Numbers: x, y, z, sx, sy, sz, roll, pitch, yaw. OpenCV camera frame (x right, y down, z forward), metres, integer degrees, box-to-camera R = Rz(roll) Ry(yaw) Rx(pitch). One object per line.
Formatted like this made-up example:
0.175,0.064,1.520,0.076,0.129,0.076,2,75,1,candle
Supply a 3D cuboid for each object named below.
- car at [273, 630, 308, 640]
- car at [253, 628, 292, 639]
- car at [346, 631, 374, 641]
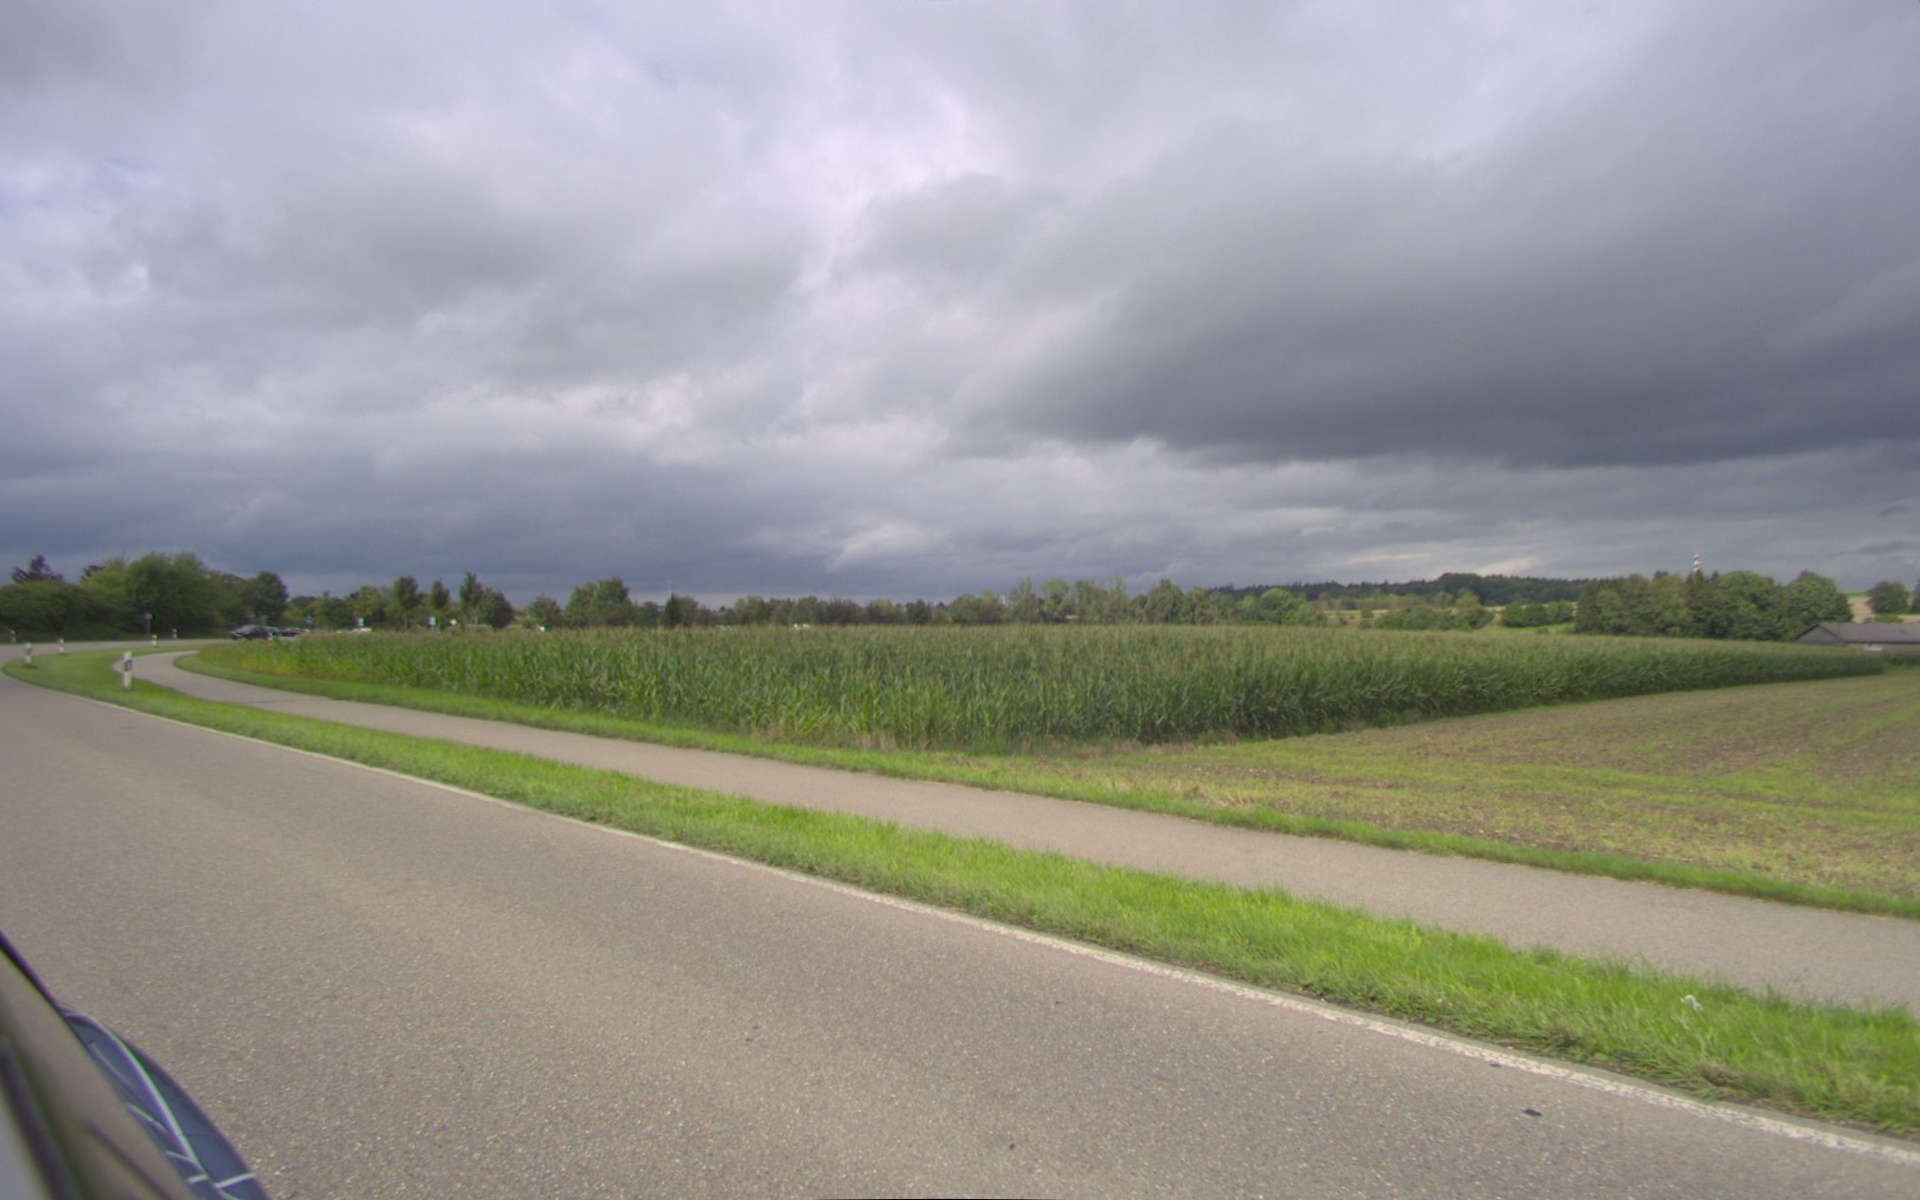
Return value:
-104.937,5.497,158.695,4.096,1.425,2.005,1,-2,-13,car
-103.861,5.109,152.823,4.418,1.593,2.005,1,-2,-13,car
-108.166,6.468,182.501,3.936,1.874,2.004,1,-2,-9,car
